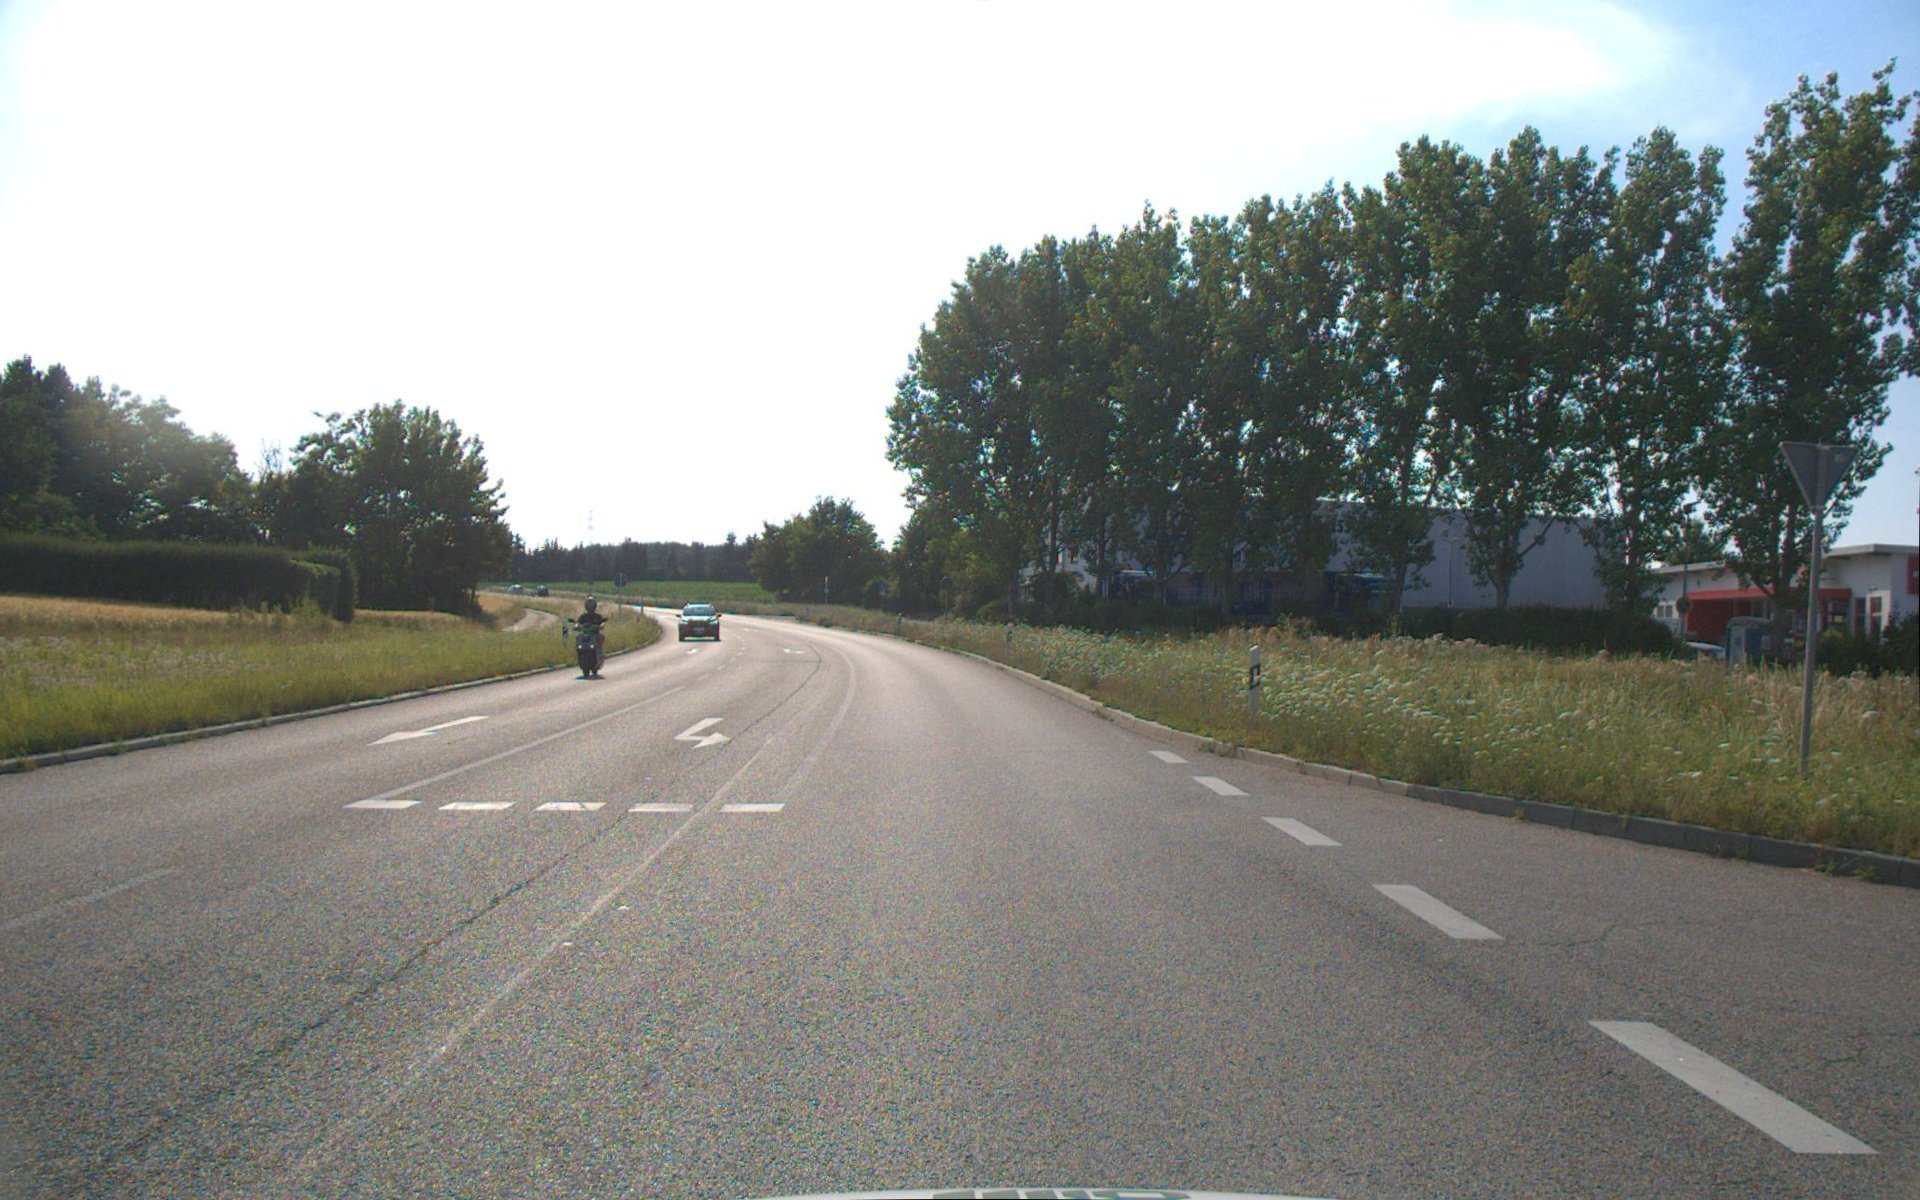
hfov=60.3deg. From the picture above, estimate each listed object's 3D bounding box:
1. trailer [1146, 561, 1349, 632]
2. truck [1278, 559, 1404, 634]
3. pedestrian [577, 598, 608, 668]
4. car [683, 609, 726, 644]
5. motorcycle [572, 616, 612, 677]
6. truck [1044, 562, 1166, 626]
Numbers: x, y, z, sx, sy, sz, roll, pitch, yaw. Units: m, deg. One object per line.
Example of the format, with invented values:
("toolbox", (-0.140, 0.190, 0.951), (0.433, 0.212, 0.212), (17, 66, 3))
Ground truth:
("trailer", (14.331, -0.136, 84.250), (2.652, 3.196, 13.151), (5, -2, -27))
("truck", (17.764, -0.134, 77.494), (2.590, 3.217, 5.657), (5, -2, -28))
("pedestrian", (-8.112, 0.717, 36.521), (0.555, 1.531, 0.864), (1, 0, -6))
("car", (-11.047, 1.127, 71.730), (1.652, 1.372, 3.994), (1, 0, -7))
("motorcycle", (-8.116, 1.012, 36.530), (0.574, 1.283, 2.118), (1, 0, -6))
("truck", (8.379, -0.421, 97.406), (2.480, 3.435, 9.608), (5, -1, -25))
